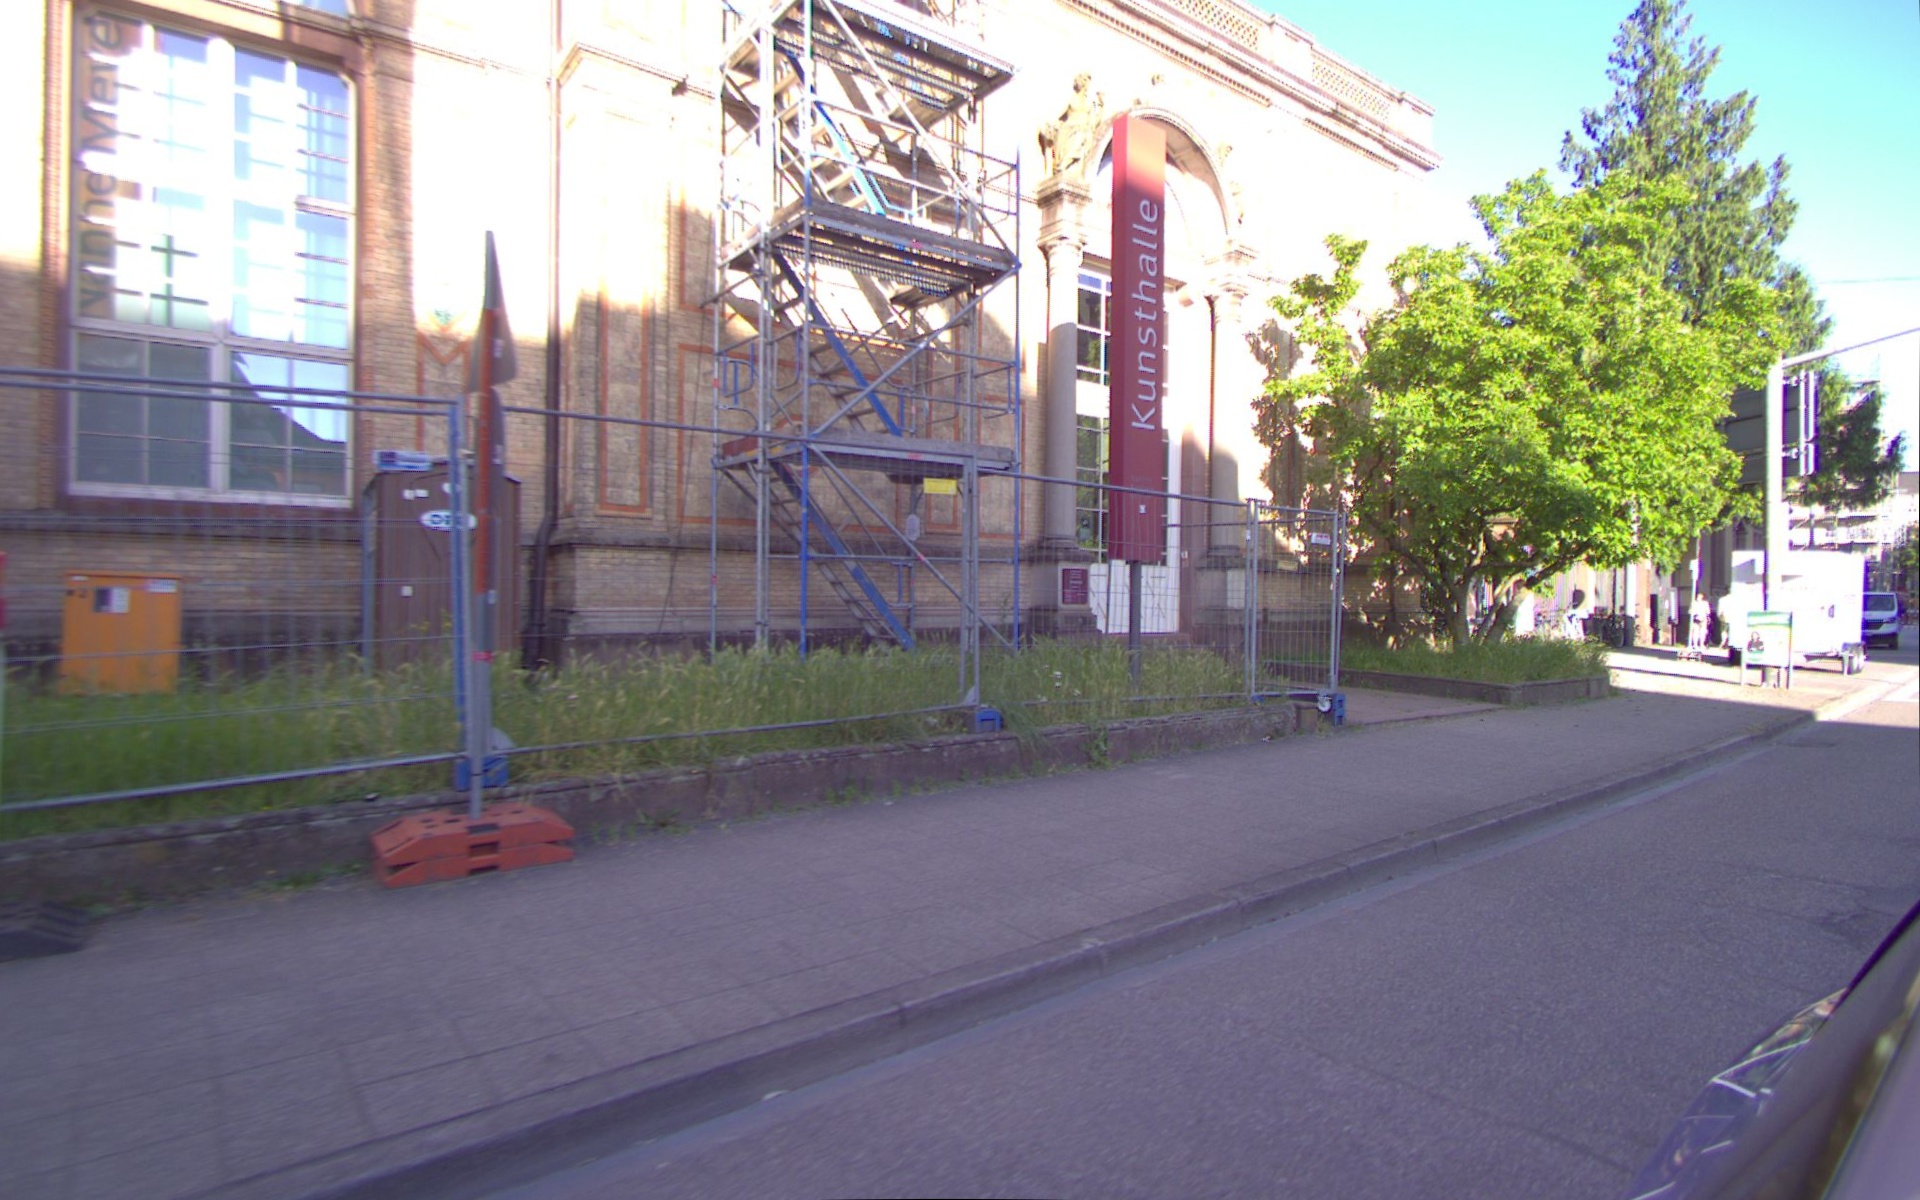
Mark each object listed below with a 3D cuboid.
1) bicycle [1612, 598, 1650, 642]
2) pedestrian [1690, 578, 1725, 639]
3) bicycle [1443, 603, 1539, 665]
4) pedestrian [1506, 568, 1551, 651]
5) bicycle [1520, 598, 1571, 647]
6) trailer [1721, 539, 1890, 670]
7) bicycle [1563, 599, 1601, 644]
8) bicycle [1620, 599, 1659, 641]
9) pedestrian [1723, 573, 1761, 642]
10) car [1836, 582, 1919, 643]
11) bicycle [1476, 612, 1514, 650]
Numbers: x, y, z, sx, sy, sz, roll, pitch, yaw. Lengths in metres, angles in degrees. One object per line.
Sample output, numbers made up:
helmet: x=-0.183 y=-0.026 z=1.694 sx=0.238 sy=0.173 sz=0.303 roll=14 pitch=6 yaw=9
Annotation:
bicycle: x=18.174 y=0.525 z=27.400 sx=1.895 sy=1.144 sz=0.395 roll=0 pitch=0 yaw=-43
pedestrian: x=21.796 y=0.235 z=29.507 sx=0.682 sy=1.722 sz=0.683 roll=1 pitch=1 yaw=-43
bicycle: x=9.783 y=0.604 z=18.678 sx=0.471 sy=1.052 sz=1.468 roll=1 pitch=1 yaw=-41
pedestrian: x=12.595 y=0.199 z=22.414 sx=0.724 sy=1.790 sz=0.640 roll=1 pitch=0 yaw=-39
bicycle: x=13.865 y=0.524 z=23.943 sx=1.649 sy=1.119 sz=0.400 roll=1 pitch=2 yaw=-38
trailer: x=18.387 y=0.050 z=21.945 sx=4.413 sy=2.559 sz=2.083 roll=0 pitch=2 yaw=-41
bicycle: x=15.866 y=0.543 z=25.797 sx=1.504 sy=1.119 sz=0.275 roll=1 pitch=2 yaw=-38
bicycle: x=19.758 y=0.567 z=29.427 sx=1.794 sy=1.170 sz=0.419 roll=0 pitch=2 yaw=-40
pedestrian: x=22.468 y=0.212 z=29.085 sx=0.875 sy=1.918 sz=0.715 roll=1 pitch=1 yaw=-45
car: x=32.089 y=0.373 z=35.392 sx=2.013 sy=1.970 sz=5.397 roll=-1 pitch=0 yaw=43
bicycle: x=11.800 y=0.681 z=22.306 sx=1.426 sy=0.803 sz=0.264 roll=0 pitch=0 yaw=-42
